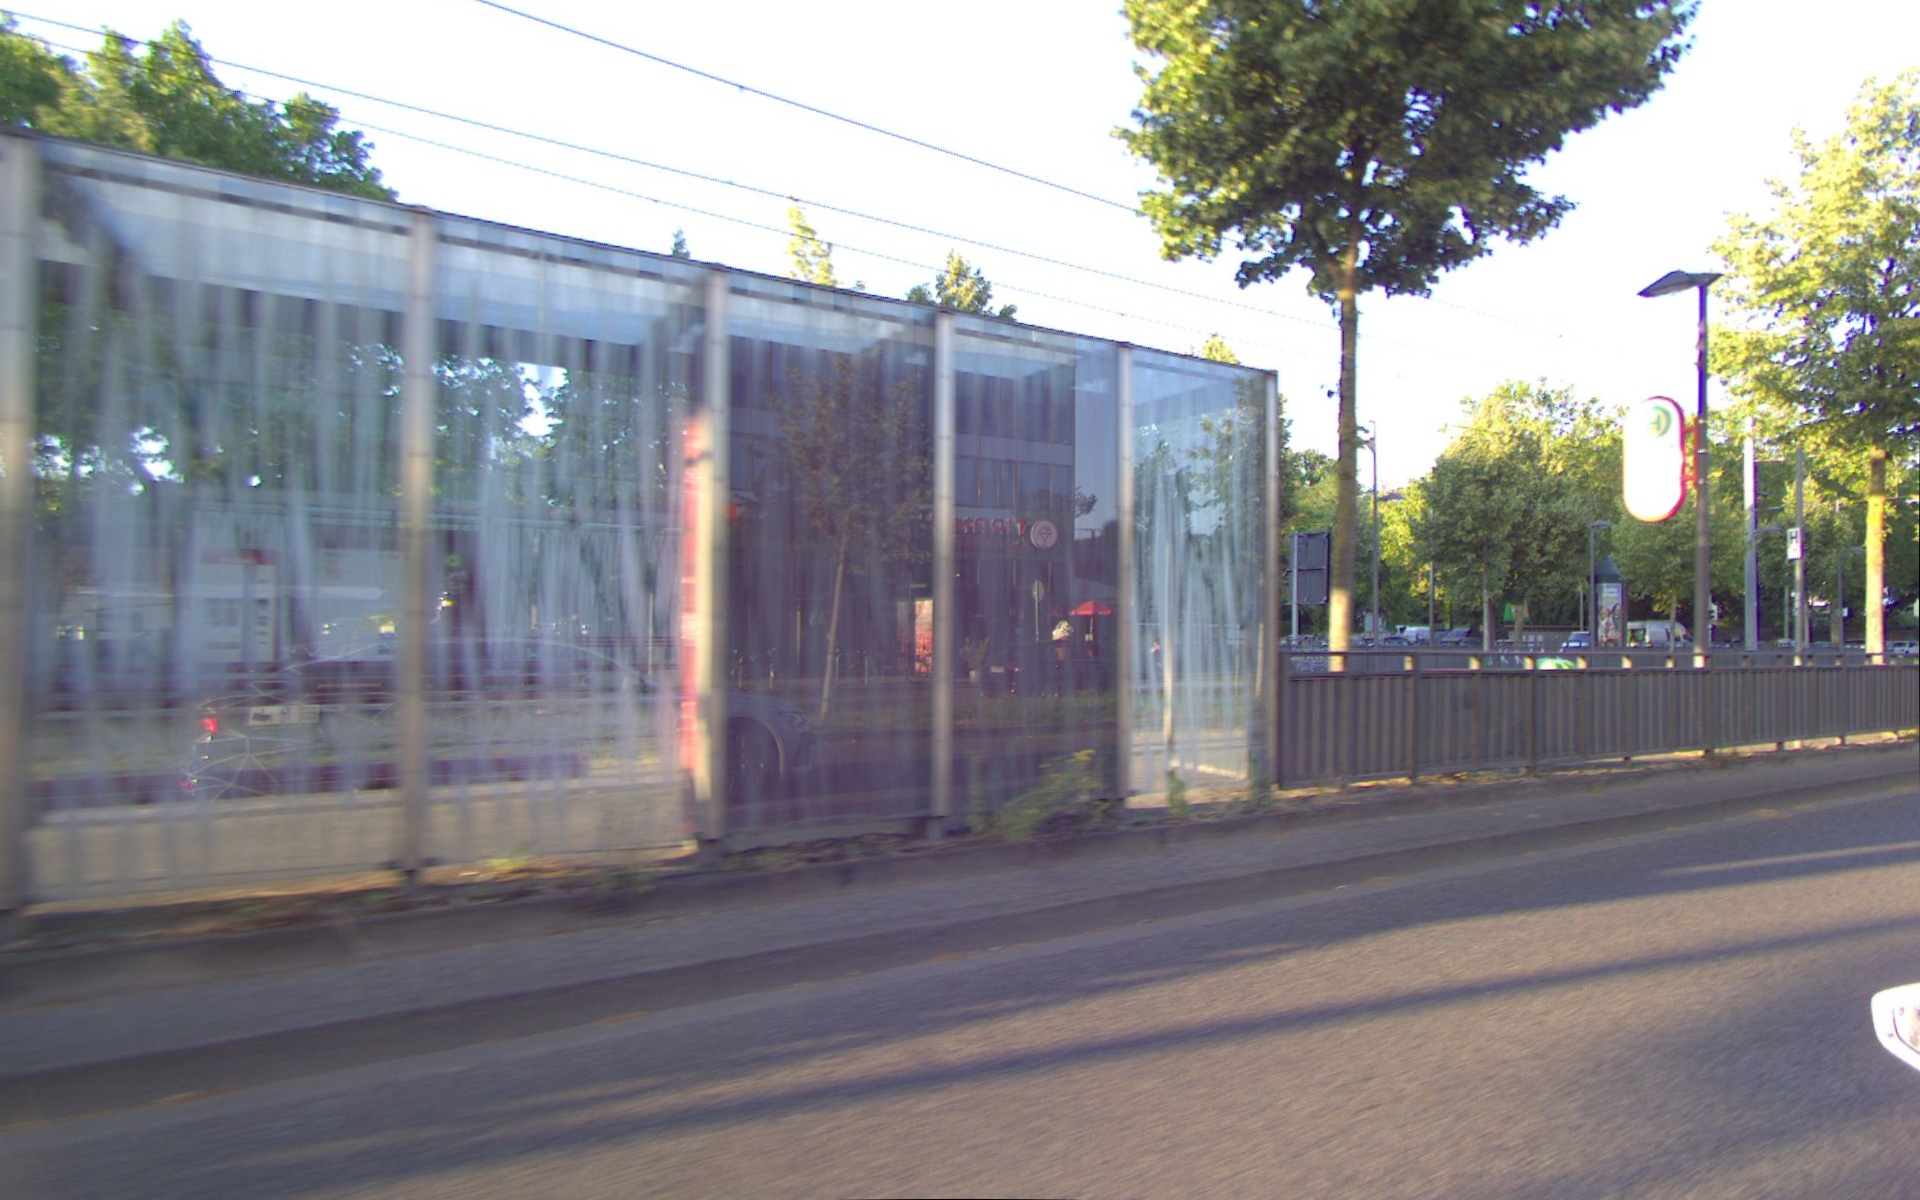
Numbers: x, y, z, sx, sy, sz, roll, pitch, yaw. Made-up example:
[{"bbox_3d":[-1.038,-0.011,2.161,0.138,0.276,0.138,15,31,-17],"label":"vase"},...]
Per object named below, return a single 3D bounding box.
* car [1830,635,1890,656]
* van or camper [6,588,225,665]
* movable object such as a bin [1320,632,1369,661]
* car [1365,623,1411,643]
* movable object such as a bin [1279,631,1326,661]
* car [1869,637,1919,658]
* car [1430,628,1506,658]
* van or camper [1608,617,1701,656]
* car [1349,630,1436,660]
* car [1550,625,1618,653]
[{"bbox_3d":[66.045,3.327,73.701,4.502,1.518,1.985,2,-2,-29],"label":"car"},{"bbox_3d":[-30.449,0.991,36.493,5.554,2.597,2.386,1,-2,-24],"label":"van or camper"},{"bbox_3d":[19.178,2.322,50.106,1.703,1.390,1.546,1,-1,-28],"label":"movable object such as a bin"},{"bbox_3d":[39.667,3.079,93.131,3.953,1.773,1.984,1,-2,-30],"label":"car"},{"bbox_3d":[16.683,2.218,48.906,1.680,1.430,1.403,1,-1,-28],"label":"movable object such as a bin"},{"bbox_3d":[71.115,3.622,76.249,4.254,1.519,1.892,2,-2,-29],"label":"car"},{"bbox_3d":[27.816,2.346,54.972,4.003,1.551,1.802,1,-1,-29],"label":"car"},{"bbox_3d":[43.760,2.285,63.277,5.705,2.396,2.277,1,-1,-25],"label":"van or camper"},{"bbox_3d":[22.489,2.331,52.244,4.246,1.520,1.985,1,-2,-29],"label":"car"},{"bbox_3d":[46.330,2.879,74.521,4.992,2.040,1.987,1,-1,-27],"label":"car"}]
